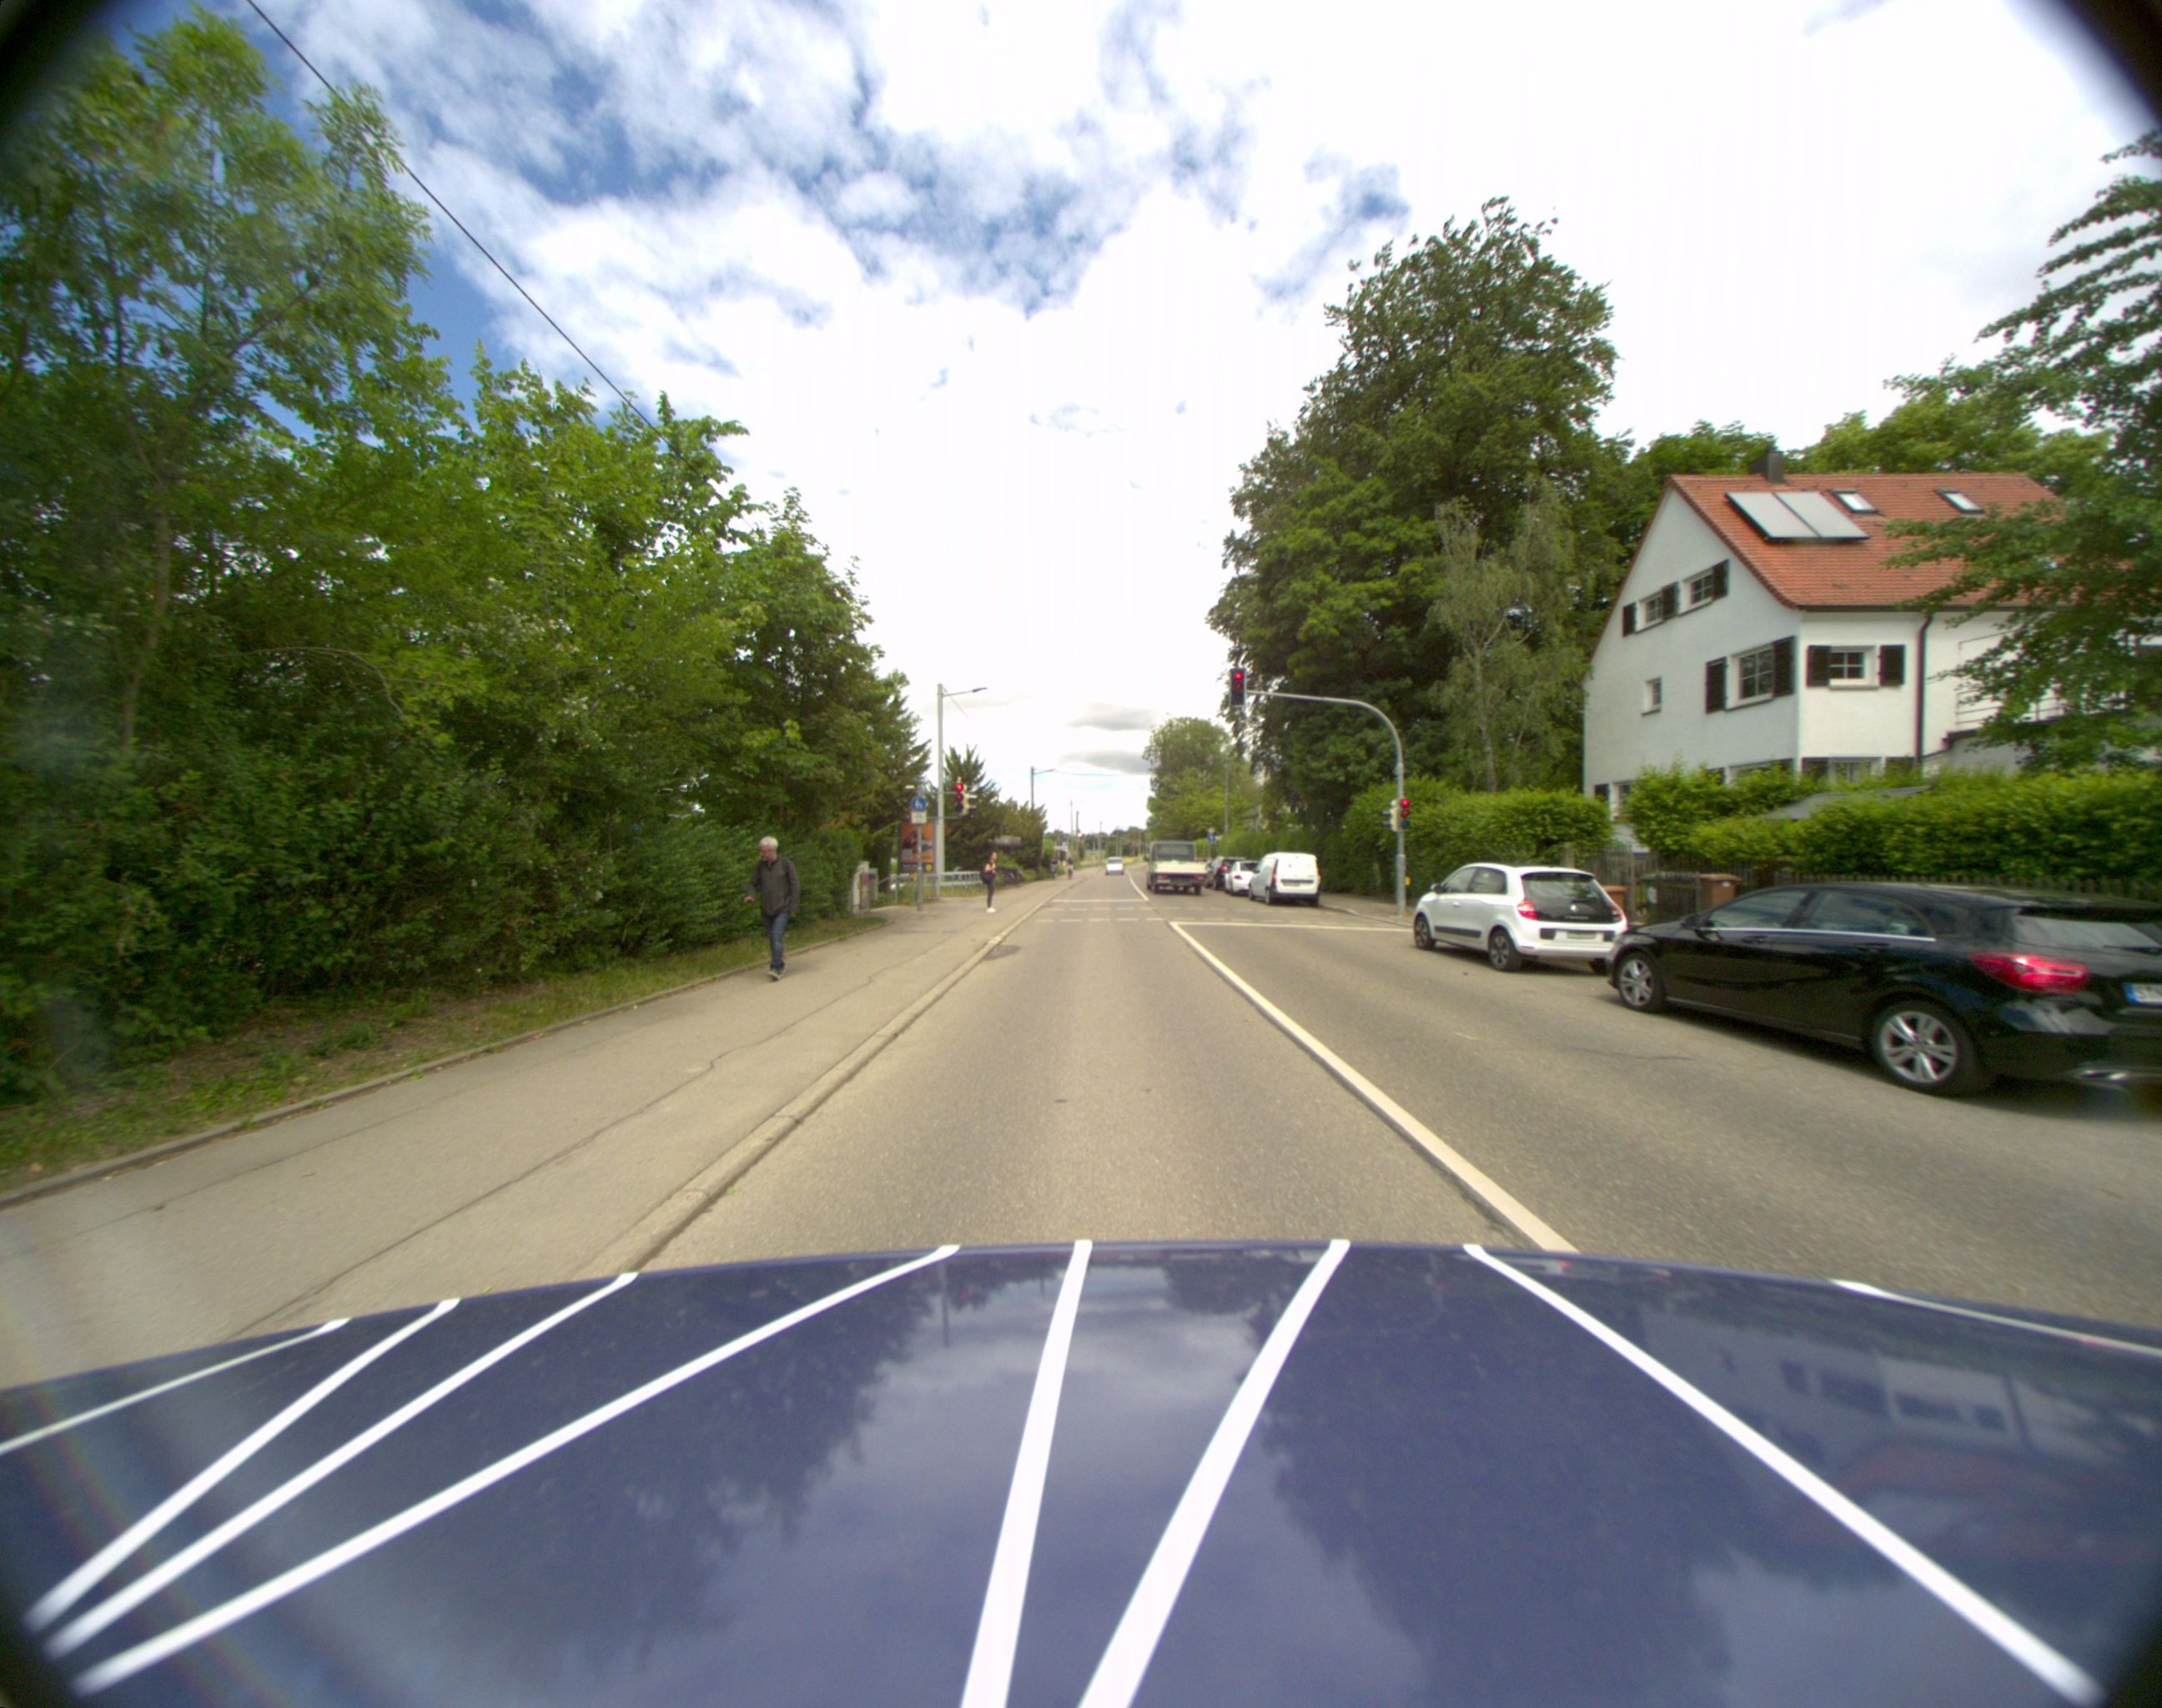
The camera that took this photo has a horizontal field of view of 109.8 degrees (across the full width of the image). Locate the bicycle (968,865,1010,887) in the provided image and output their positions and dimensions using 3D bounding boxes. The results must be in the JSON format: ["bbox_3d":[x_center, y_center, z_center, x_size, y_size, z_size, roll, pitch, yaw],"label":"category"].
[{"bbox_3d":[-4.752,1.137,39.385,2.094,1.041,0.450,-2,1,-1],"label":"bicycle"}]

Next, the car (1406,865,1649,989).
[{"bbox_3d":[6.680,0.989,11.888,1.706,1.534,3.743,1,0,3],"label":"car"}]

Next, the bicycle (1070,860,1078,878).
[{"bbox_3d":[-0.516,1.094,56.434,0.451,1.278,2.207,-2,1,-2],"label":"bicycle"}]

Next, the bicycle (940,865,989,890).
[{"bbox_3d":[-5.232,1.071,34.186,2.093,1.074,0.547,1,1,4],"label":"bicycle"}]

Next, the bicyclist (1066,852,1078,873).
[{"bbox_3d":[-0.644,0.633,56.558,0.826,1.529,0.861,-2,1,-1],"label":"bicyclist"}]

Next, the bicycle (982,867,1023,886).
[{"bbox_3d":[-4.372,1.251,42.173,2.206,0.932,0.451,-2,1,-1],"label":"bicycle"}]

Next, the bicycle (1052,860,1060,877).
[{"bbox_3d":[-1.810,1.032,55.436,0.451,1.143,2.208,0,1,1],"label":"bicycle"}]

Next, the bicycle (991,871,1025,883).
[{"bbox_3d":[-4.306,1.332,44.958,1.988,0.635,0.332,-2,1,-9],"label":"bicycle"}]

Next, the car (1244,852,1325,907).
[{"bbox_3d":[7.127,0.842,27.122,1.681,1.748,4.608,1,0,1],"label":"car"}]

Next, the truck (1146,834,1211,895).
[{"bbox_3d":[4.152,0.409,33.556,2.194,2.358,6.905,1,0,2],"label":"truck"}]

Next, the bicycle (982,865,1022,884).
[{"bbox_3d":[-4.421,1.139,42.643,2.206,1.041,0.451,0,1,0],"label":"bicycle"}]

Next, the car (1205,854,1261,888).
[{"bbox_3d":[7.470,0.780,37.848,1.901,1.584,4.643,0,0,0],"label":"car"}]

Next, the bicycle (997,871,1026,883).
[{"bbox_3d":[-4.099,1.348,44.683,1.682,0.635,0.332,-2,1,-9],"label":"bicycle"}]

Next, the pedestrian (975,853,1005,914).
[{"bbox_3d":[-2.552,0.821,21.426,0.649,1.655,0.708,-2,1,6],"label":"pedestrian"}]

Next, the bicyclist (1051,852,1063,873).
[{"bbox_3d":[-1.771,0.630,55.678,0.826,1.529,0.862,0,0,1],"label":"bicyclist"}]

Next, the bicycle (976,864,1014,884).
[{"bbox_3d":[-4.626,1.071,40.842,2.090,1.041,0.451,1,2,22],"label":"bicycle"}]

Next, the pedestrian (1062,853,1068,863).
[{"bbox_3d":[-1.956,0.516,93.550,0.588,1.272,0.582,-2,1,6],"label":"pedestrian"}]

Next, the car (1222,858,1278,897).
[{"bbox_3d":[7.137,0.944,32.437,1.708,1.445,4.359,3,0,5],"label":"car"}]

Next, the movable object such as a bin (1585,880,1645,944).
[{"bbox_3d":[9.649,1.042,13.752,0.517,1.074,0.749,-3,0,2],"label":"movable object such as a bin"}]

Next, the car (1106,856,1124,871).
[{"bbox_3d":[3.190,0.847,71.295,1.665,1.394,3.900,0,0,2],"label":"car"}]

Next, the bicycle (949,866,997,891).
[{"bbox_3d":[-5.055,1.131,35.588,2.093,1.041,0.559,-3,1,4],"label":"bicycle"}]

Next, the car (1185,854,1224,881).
[{"bbox_3d":[7.855,0.836,48.800,1.795,1.601,4.416,0,0,0],"label":"car"}]

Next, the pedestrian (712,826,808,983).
[{"bbox_3d":[-4.002,0.611,9.532,0.746,1.872,0.801,-1,1,7],"label":"pedestrian"}]

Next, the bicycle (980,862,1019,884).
[{"bbox_3d":[-4.462,1.055,41.649,2.094,1.144,0.530,-1,1,-1],"label":"bicycle"}]

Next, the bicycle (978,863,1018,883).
[{"bbox_3d":[-4.722,1.098,43.259,2.206,1.041,0.451,2,1,0],"label":"bicycle"}]

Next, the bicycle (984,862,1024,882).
[{"bbox_3d":[-4.470,1.029,44.096,2.205,1.143,0.451,0,1,7],"label":"bicycle"}]

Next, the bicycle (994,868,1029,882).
[{"bbox_3d":[-4.230,1.292,46.460,2.080,0.821,0.451,-2,1,7],"label":"bicycle"}]

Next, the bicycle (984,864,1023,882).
[{"bbox_3d":[-4.463,1.088,43.671,2.205,1.041,0.451,0,1,7],"label":"bicycle"}]

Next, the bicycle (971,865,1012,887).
[{"bbox_3d":[-4.686,1.148,39.939,2.094,1.041,0.450,-2,1,-1],"label":"bicycle"}]

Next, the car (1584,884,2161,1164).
[{"bbox_3d":[6.521,1.066,6.457,1.747,1.402,4.324,1,0,3],"label":"car"}]
